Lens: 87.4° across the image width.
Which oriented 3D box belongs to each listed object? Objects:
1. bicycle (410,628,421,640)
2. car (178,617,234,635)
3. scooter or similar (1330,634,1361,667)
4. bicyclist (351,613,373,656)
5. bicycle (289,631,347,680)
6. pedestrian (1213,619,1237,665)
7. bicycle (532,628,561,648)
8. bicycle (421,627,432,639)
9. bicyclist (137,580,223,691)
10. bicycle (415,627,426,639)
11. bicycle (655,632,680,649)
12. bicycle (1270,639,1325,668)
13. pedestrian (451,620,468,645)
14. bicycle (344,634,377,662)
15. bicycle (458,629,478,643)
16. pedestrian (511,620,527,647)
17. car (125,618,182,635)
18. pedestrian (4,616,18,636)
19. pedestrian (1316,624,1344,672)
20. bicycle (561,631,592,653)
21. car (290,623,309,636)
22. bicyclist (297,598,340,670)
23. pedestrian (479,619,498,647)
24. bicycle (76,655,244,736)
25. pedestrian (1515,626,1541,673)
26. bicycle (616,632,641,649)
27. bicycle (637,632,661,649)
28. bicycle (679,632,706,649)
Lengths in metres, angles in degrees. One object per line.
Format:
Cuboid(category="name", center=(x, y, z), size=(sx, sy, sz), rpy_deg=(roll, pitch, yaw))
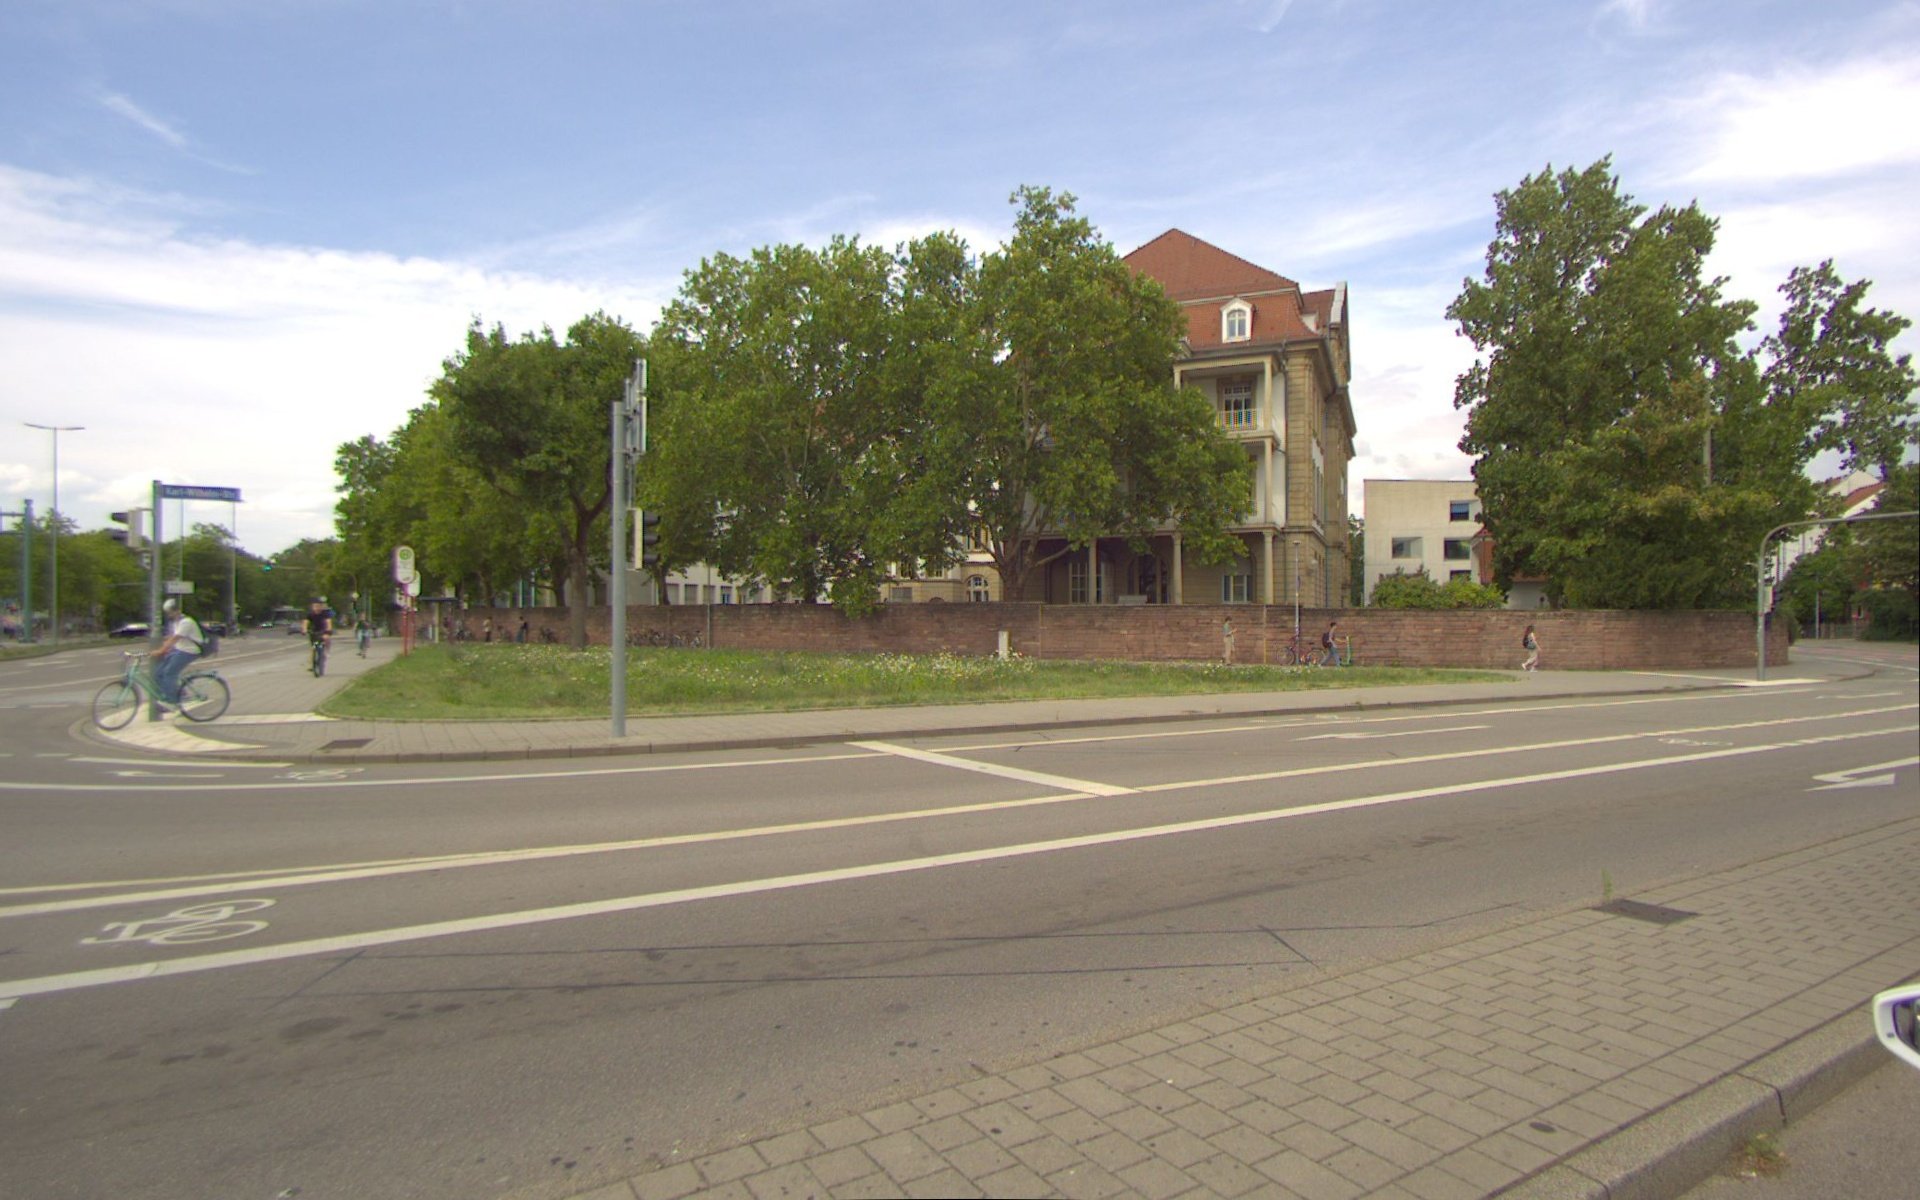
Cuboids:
Cuboid(category="bicycle", center=(-44.049, 2.761, 81.228), size=(0.429, 0.899, 1.558), rpy_deg=(-4, 1, -39))
Cuboid(category="car", center=(-69.718, 2.372, 92.874), size=(4.046, 1.509, 1.791), rpy_deg=(1, -1, 10))
Cuboid(category="scooter or similar", center=(14.394, 1.870, 37.492), size=(0.513, 1.154, 1.509), rpy_deg=(-1, 1, 45))
Cuboid(category="bicyclist", center=(-22.622, 1.302, 37.994), size=(0.486, 1.576, 0.795), rpy_deg=(0, 1, -14))
Cuboid(category="bicycle", center=(-14.427, 1.226, 22.606), size=(0.497, 0.948, 1.965), rpy_deg=(0, 1, -14))
Cuboid(category="pedestrian", center=(9.930, 1.581, 37.708), size=(0.766, 1.677, 0.577), rpy_deg=(-2, 1, 7))
Cuboid(category="bicycle", center=(-24.893, 2.281, 60.452), size=(2.067, 1.204, 0.755), rpy_deg=(-1, -3, 40))
Cuboid(category="bicycle", center=(-41.694, 2.610, 78.525), size=(0.429, 0.899, 1.558), rpy_deg=(-4, 1, -39))
Cuboid(category="bicyclist", center=(-11.412, 0.497, 14.722), size=(0.568, 1.576, 0.798), rpy_deg=(1, 1, 15))
Cuboid(category="bicycle", center=(-42.868, 2.638, 79.775), size=(0.429, 0.899, 1.558), rpy_deg=(-4, 1, -39))
Cuboid(category="bicycle", center=(-15.291, 2.135, 52.532), size=(1.864, 0.875, 0.357), rpy_deg=(-2, -4, 43))
Cuboid(category="bicycle", center=(12.703, 2.027, 37.852), size=(1.888, 1.018, 0.779), rpy_deg=(-2, 1, 17))
Cuboid(category="pedestrian", center=(-32.829, 2.122, 65.913), size=(0.655, 1.643, 0.751), rpy_deg=(-1, 1, 38))
Cuboid(category="bicycle", center=(-22.586, 1.800, 37.862), size=(0.497, 0.948, 1.965), rpy_deg=(0, 1, -14))
Cuboid(category="bicycle", center=(-33.874, 2.452, 69.140), size=(1.554, 0.899, 0.658), rpy_deg=(-2, 1, 42))
Cuboid(category="pedestrian", center=(-27.451, 2.104, 62.505), size=(0.743, 1.643, 0.566), rpy_deg=(-1, 1, 40))
Cuboid(category="car", center=(-76.552, 2.510, 95.376), size=(4.047, 1.509, 1.791), rpy_deg=(2, -1, 2))
Cuboid(category="pedestrian", center=(-86.903, 2.368, 91.954), size=(0.706, 1.734, 0.690), rpy_deg=(-2, 1, -29))
Cuboid(category="pedestrian", center=(13.317, 1.718, 36.180), size=(0.766, 1.677, 0.577), rpy_deg=(-2, 1, 2))
Cuboid(category="bicycle", center=(-22.110, 2.414, 57.897), size=(2.067, 1.204, 0.755), rpy_deg=(-1, -3, 40))
Cuboid(category="car", center=(-80.851, 3.609, 122.981), size=(1.680, 1.500, 4.380), rpy_deg=(-2, 0, -30))
Cuboid(category="bicyclist", center=(-14.436, 0.741, 22.620), size=(0.570, 1.576, 0.795), rpy_deg=(0, 1, -14))
Cuboid(category="pedestrian", center=(-27.832, 1.932, 59.270), size=(0.655, 1.643, 0.751), rpy_deg=(-1, 1, 38))
Cuboid(category="bicycle", center=(-11.483, 1.341, 14.512), size=(0.496, 0.948, 1.972), rpy_deg=(1, 1, 15))
Cuboid(category="pedestrian", center=(20.674, 1.795, 36.549), size=(0.618, 1.677, 0.531), rpy_deg=(-2, 1, -2))
Cuboid(category="bicycle", center=(-18.100, 2.201, 54.890), size=(1.794, 0.875, 0.357), rpy_deg=(-1, -3, 39))
Cuboid(category="bicycle", center=(-16.659, 2.169, 53.784), size=(1.783, 0.875, 0.357), rpy_deg=(-1, -4, 42))
Cuboid(category="bicycle", center=(-13.841, 2.095, 51.895), size=(1.681, 0.875, 0.357), rpy_deg=(-1, -3, 36))
